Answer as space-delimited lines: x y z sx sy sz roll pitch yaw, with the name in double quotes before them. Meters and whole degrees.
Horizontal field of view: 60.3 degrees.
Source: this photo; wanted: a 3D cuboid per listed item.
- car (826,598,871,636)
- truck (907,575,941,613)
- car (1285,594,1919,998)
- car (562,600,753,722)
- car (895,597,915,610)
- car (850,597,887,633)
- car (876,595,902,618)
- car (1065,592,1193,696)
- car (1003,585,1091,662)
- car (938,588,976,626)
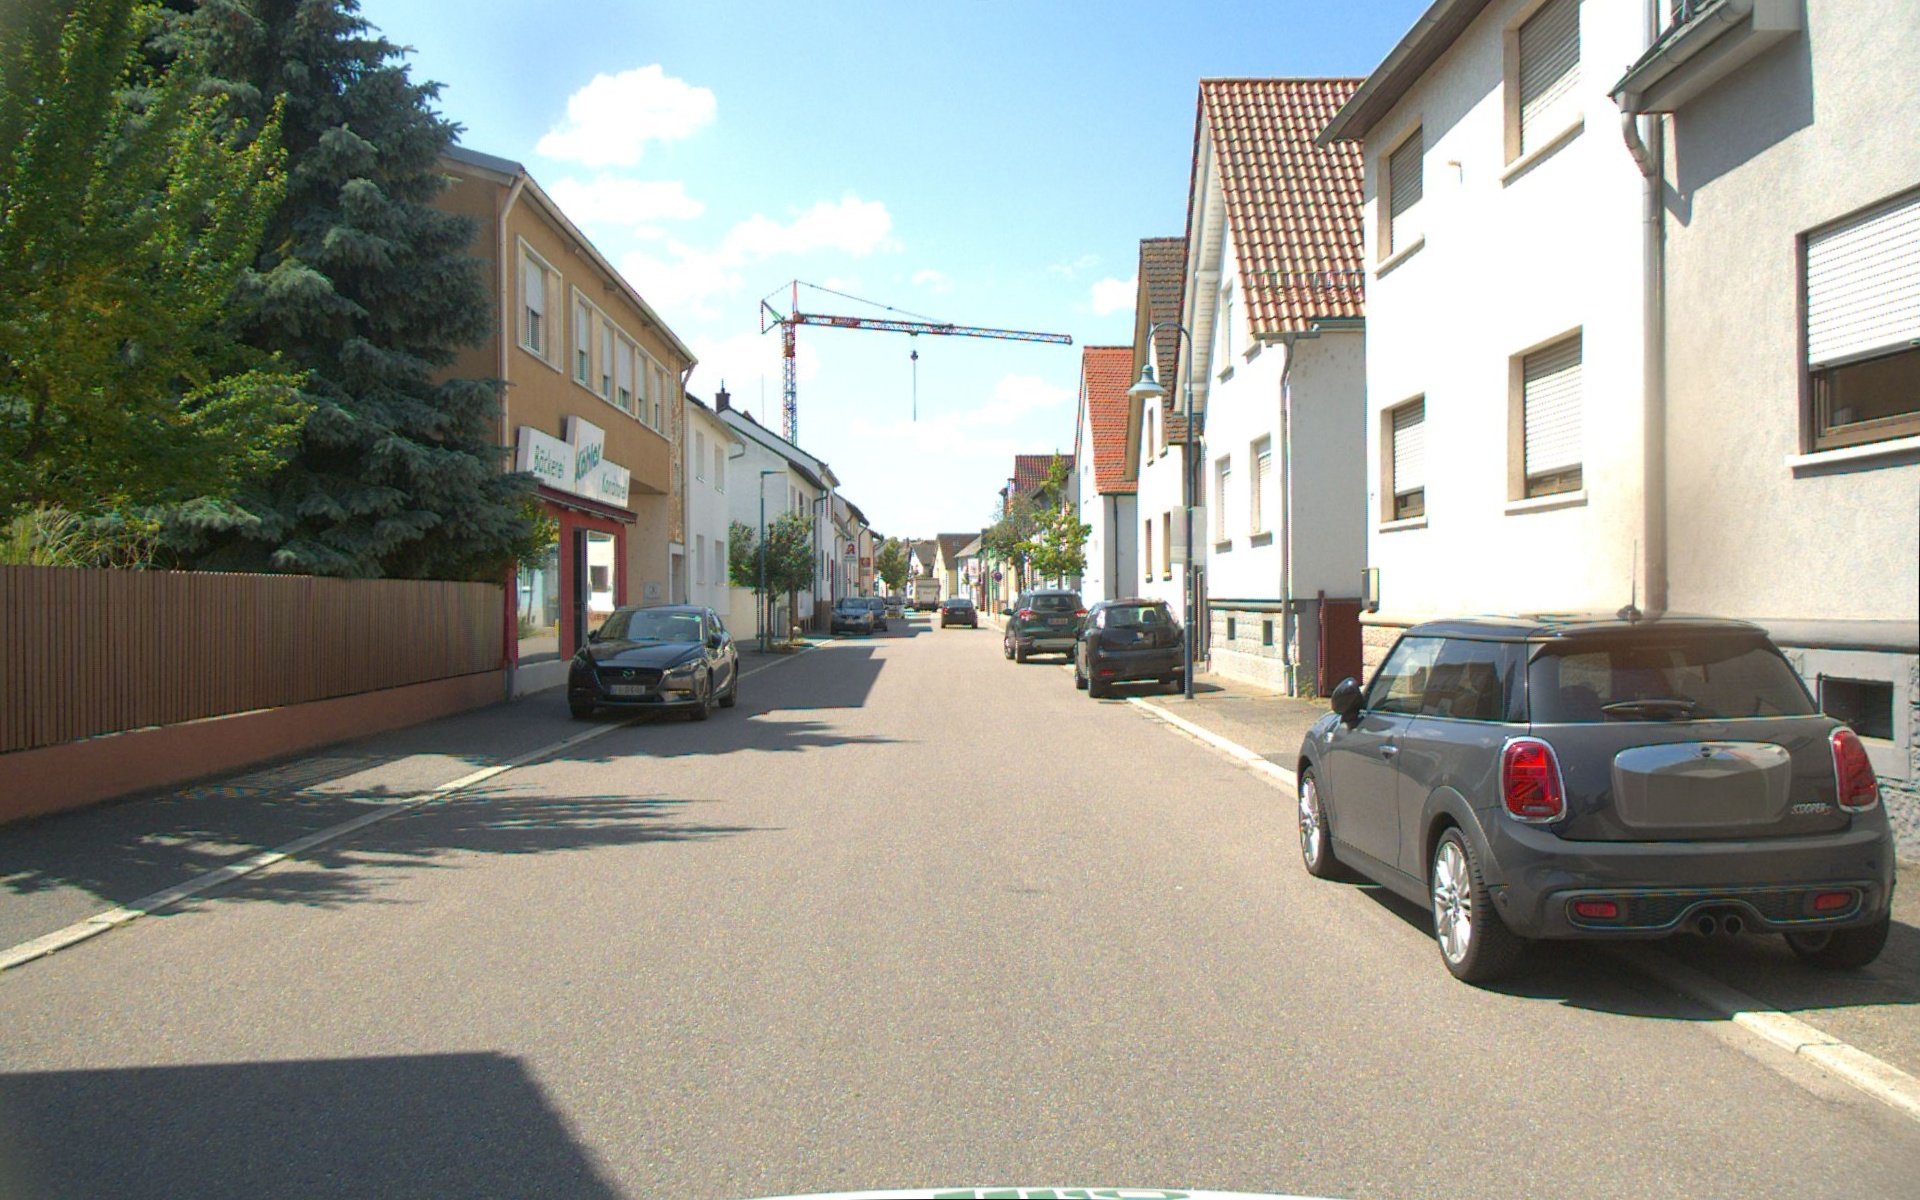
"car" -4.827 0.704 72.002 1.723 1.551 4.288 -1 0 -2
"truck" -3.986 -0.575 179.803 3.311 3.933 13.919 -1 0 -2
"car" 2.762 0.708 7.861 1.654 1.447 3.656 -1 0 -1
"car" -4.017 0.753 22.646 1.732 1.485 4.436 0 0 1
"car" -7.790 0.561 234.350 1.792 1.784 4.209 -1 0 -17
"car" -4.307 0.702 78.511 1.620 1.637 4.060 -1 0 -2
"car" -5.063 0.444 117.950 1.688 1.583 4.171 1 0 0
"car" 2.751 0.680 27.609 1.584 1.522 3.971 -3 0 -1
"car" 2.054 0.529 40.155 1.694 1.747 4.273 -1 0 -3
"car" -0.154 0.353 83.292 1.747 1.784 3.998 -1 0 -2
